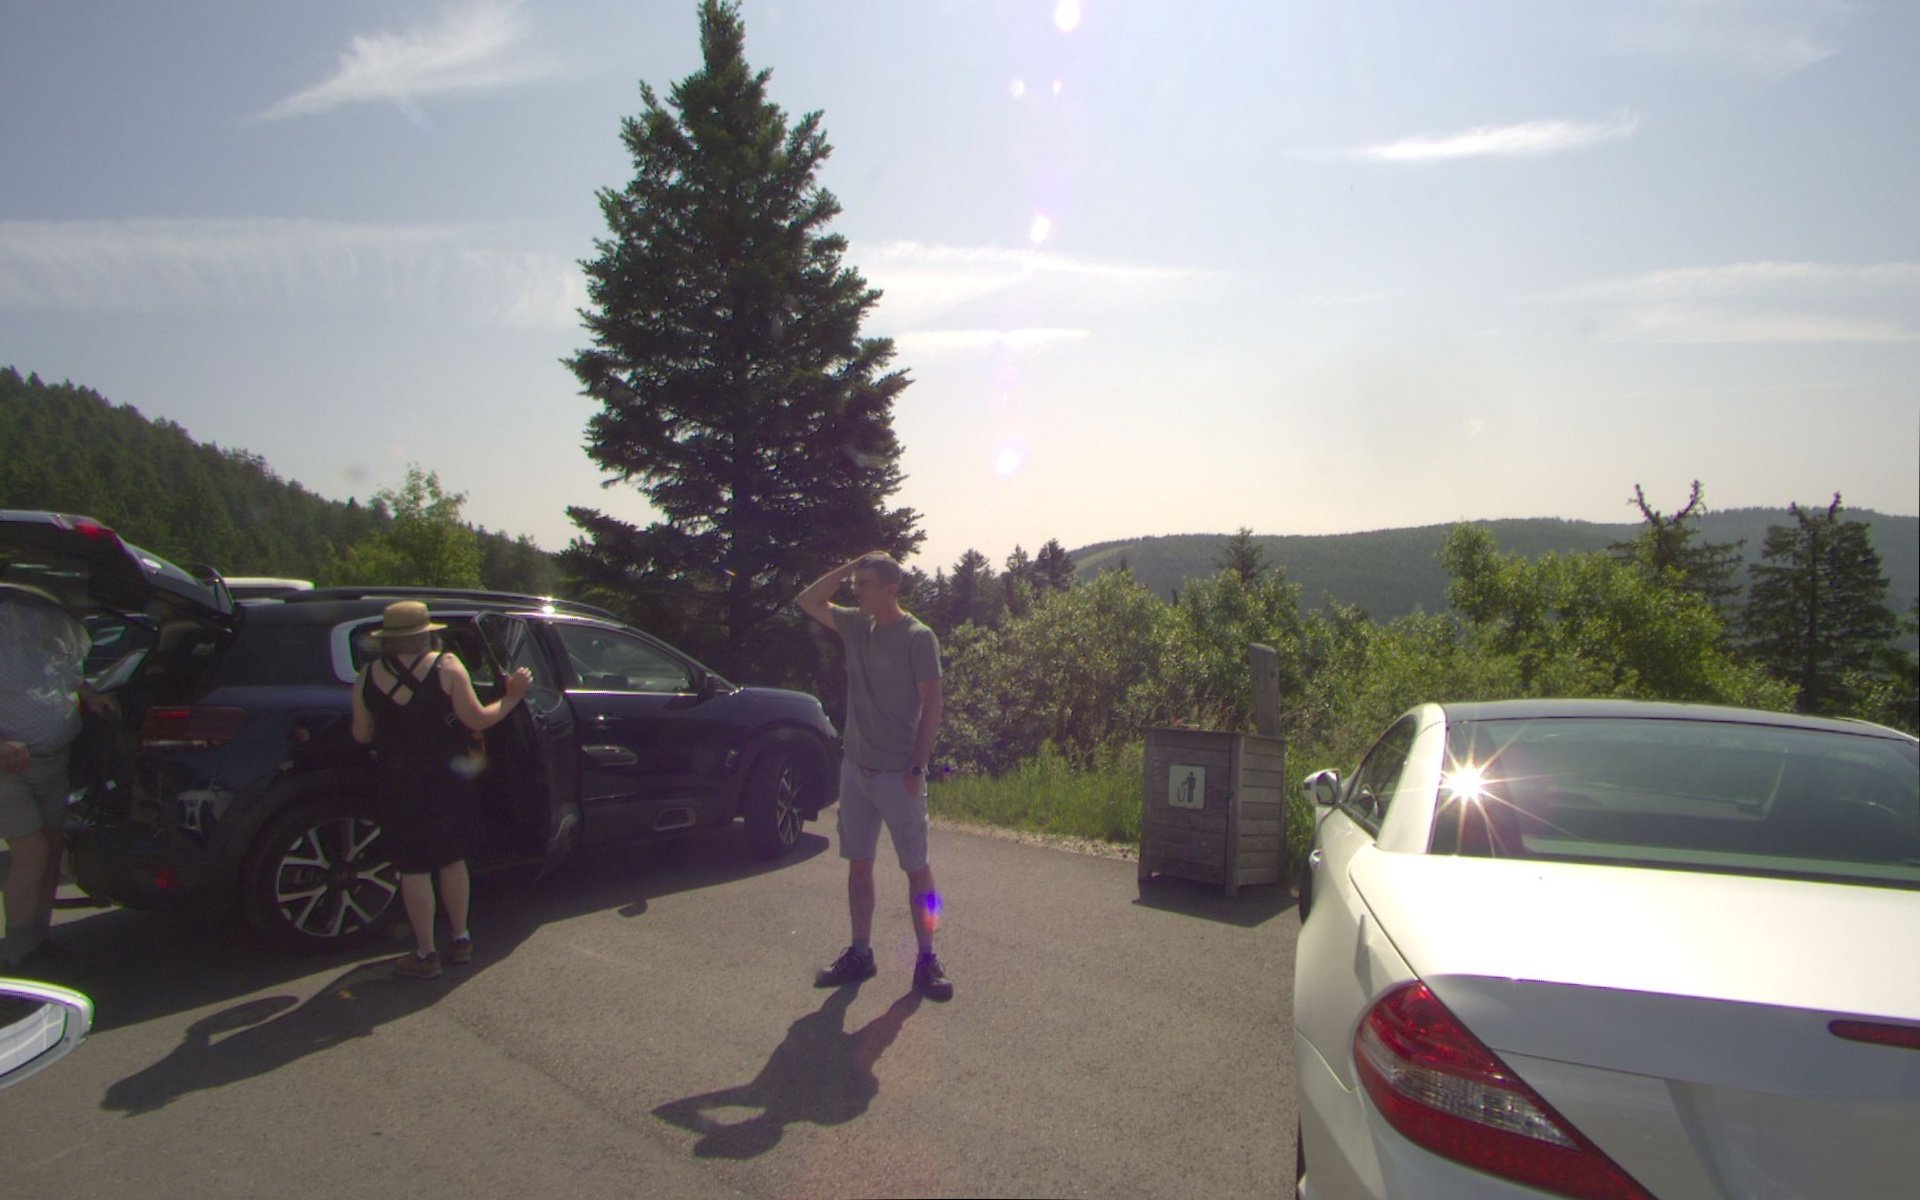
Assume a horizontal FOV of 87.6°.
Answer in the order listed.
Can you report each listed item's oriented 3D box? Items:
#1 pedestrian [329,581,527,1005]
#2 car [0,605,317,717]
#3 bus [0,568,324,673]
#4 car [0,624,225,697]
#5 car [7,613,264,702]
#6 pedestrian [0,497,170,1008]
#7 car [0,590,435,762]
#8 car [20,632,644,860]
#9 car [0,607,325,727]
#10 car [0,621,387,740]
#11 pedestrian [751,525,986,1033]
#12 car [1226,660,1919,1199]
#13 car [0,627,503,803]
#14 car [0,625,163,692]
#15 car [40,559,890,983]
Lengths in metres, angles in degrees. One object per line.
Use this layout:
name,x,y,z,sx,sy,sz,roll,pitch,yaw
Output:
pedestrian,-2.280,0.757,4.288,0.706,1.633,0.533,0,-2,-32
car,-14.749,1.012,18.013,2.027,1.673,5.003,-1,0,44
bus,-31.508,0.689,37.319,12.968,3.579,3.022,-2,0,-36
car,-19.602,1.336,23.154,1.603,1.417,3.962,-1,0,44
car,-17.139,1.130,20.942,1.643,1.574,3.962,-1,0,44
pedestrian,-3.805,0.560,4.025,0.724,1.896,0.756,1,1,-15
car,-9.227,0.785,11.940,4.915,1.718,1.926,-1,0,-44
car,-4.837,0.976,8.307,1.680,1.394,4.071,-1,-2,35
car,-12.757,0.967,15.882,1.819,1.574,4.217,-1,0,44
car,-10.738,1.023,14.182,1.819,1.285,4.217,-1,0,44
pedestrian,-0.340,0.661,4.051,0.734,1.823,0.736,-1,-1,13
car,2.012,0.903,3.293,1.725,1.312,4.404,0,-2,21
car,-7.001,0.990,10.079,1.681,1.394,4.067,-1,-2,38
car,-22.540,1.428,24.977,1.842,1.468,3.962,-1,0,44
car,-2.576,0.799,6.184,1.847,1.646,4.329,-2,-4,39
